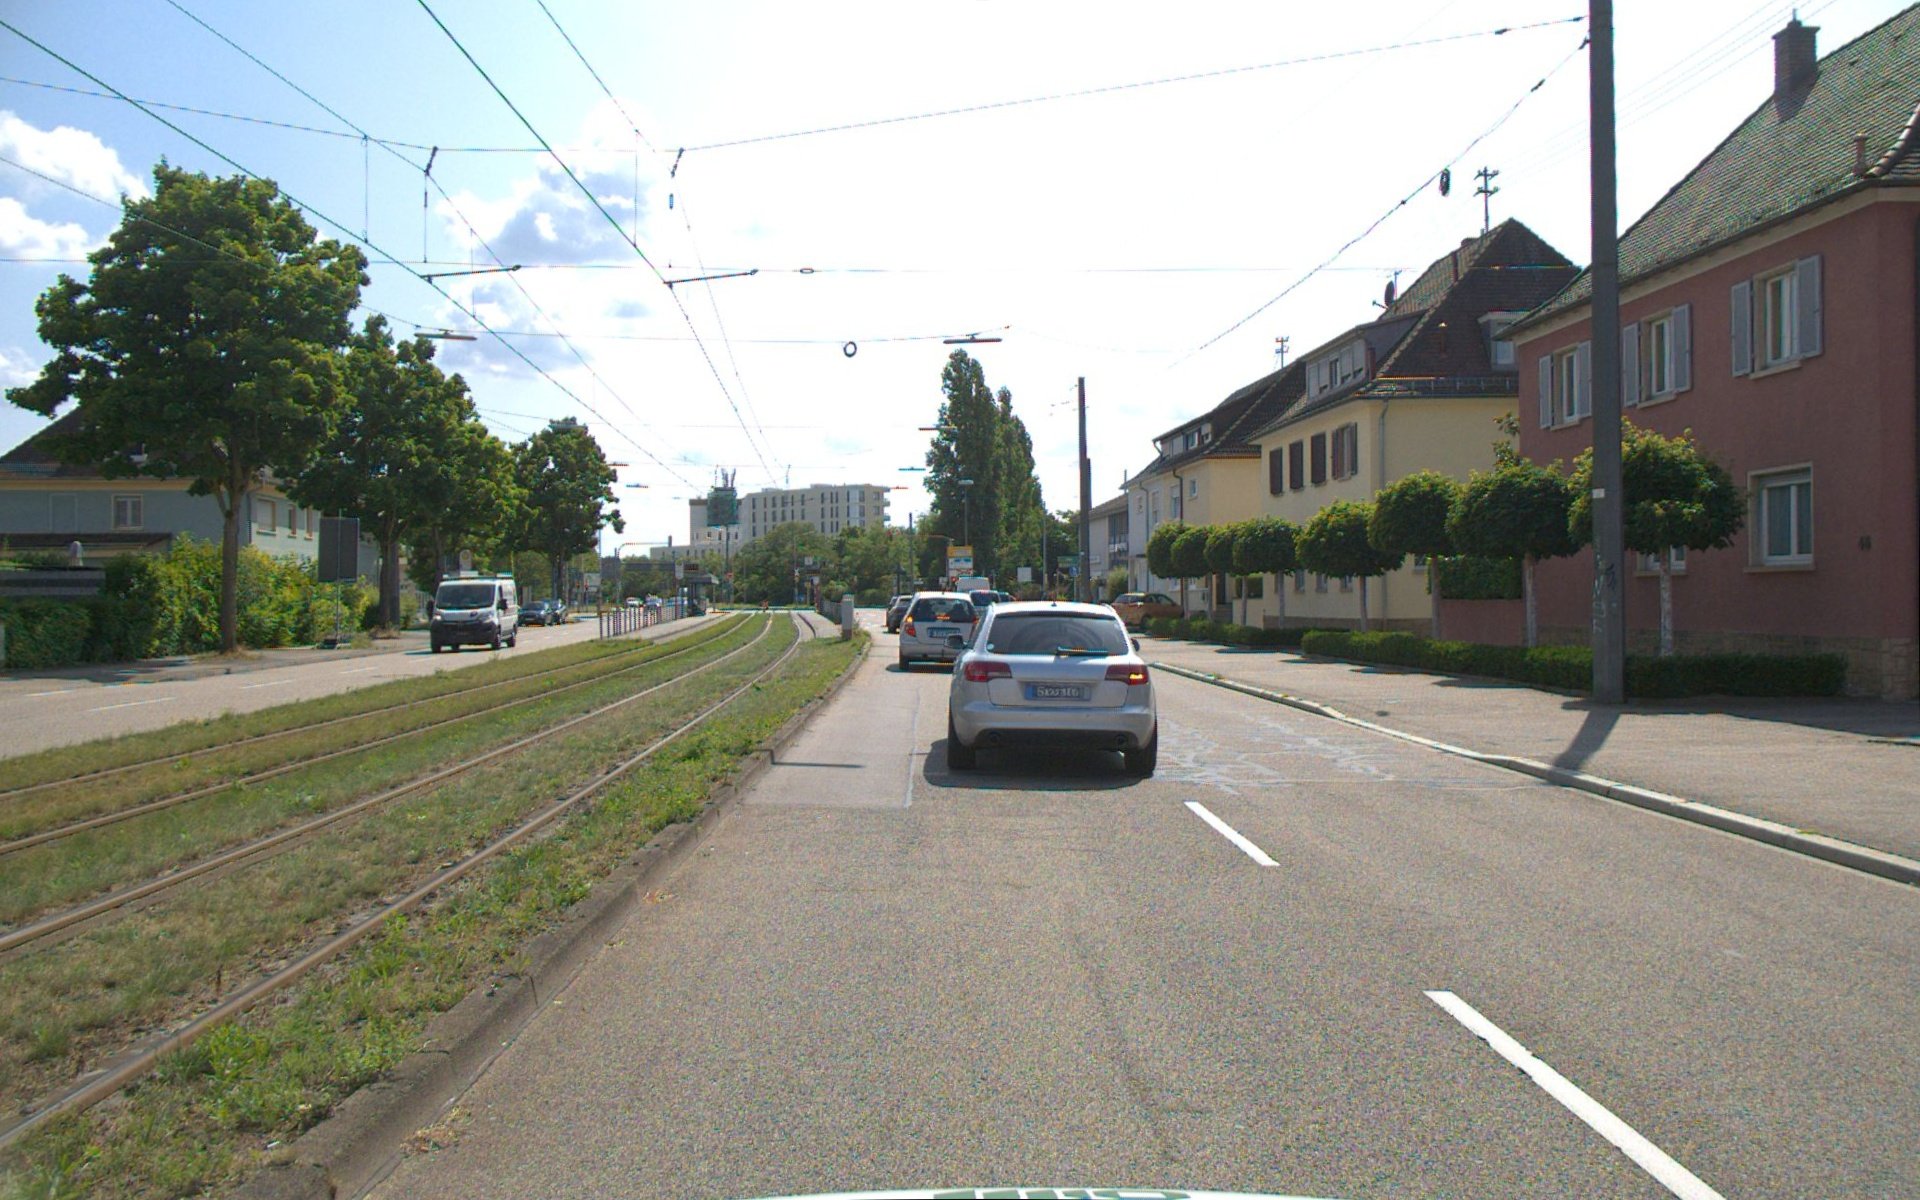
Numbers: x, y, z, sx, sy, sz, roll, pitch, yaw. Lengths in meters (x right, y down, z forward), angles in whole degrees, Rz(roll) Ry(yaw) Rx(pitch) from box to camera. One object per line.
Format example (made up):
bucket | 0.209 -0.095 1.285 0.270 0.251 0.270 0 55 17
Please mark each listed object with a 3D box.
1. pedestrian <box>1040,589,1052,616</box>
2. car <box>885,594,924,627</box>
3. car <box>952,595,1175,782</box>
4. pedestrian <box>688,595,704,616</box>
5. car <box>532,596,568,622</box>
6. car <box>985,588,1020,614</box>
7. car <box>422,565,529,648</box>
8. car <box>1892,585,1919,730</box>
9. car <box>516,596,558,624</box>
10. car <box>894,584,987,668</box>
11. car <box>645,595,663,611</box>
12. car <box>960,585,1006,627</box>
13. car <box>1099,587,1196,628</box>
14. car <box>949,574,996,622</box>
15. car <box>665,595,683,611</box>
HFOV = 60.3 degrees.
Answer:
pedestrian | 6.027 0.161 115.631 0.707 1.814 0.702 -3 0 -4
car | -2.775 0.495 81.441 1.847 1.557 4.092 1 0 -3
car | 0.887 0.717 15.829 1.816 1.518 4.536 0 0 1
pedestrian | -18.494 0.394 115.866 1.038 1.400 0.859 1 -1 -6
car | -26.032 0.553 105.077 2.024 1.642 4.740 -1 0 -12
car | 2.849 0.081 112.546 1.849 1.665 4.088 1 0 -6
car | -15.191 0.210 52.177 2.153 2.413 5.327 -2 0 -5
car | 10.425 0.542 14.618 1.617 1.434 4.345 -1 0 -5
car | -25.288 0.584 98.895 1.751 1.612 3.927 0 0 -4
car | -0.464 0.506 34.907 1.751 1.604 4.092 2 0 -3
car | -33.467 0.371 180.775 1.829 1.680 3.990 1 0 -10
car | 1.047 0.244 73.259 1.845 1.761 4.096 -1 0 3
car | 7.656 0.282 67.242 1.883 1.483 4.066 1 2 43
car | 0.649 -0.116 92.032 2.002 2.602 5.224 0 0 -6
car | -30.513 0.322 176.337 1.862 1.568 3.720 1 0 -10
